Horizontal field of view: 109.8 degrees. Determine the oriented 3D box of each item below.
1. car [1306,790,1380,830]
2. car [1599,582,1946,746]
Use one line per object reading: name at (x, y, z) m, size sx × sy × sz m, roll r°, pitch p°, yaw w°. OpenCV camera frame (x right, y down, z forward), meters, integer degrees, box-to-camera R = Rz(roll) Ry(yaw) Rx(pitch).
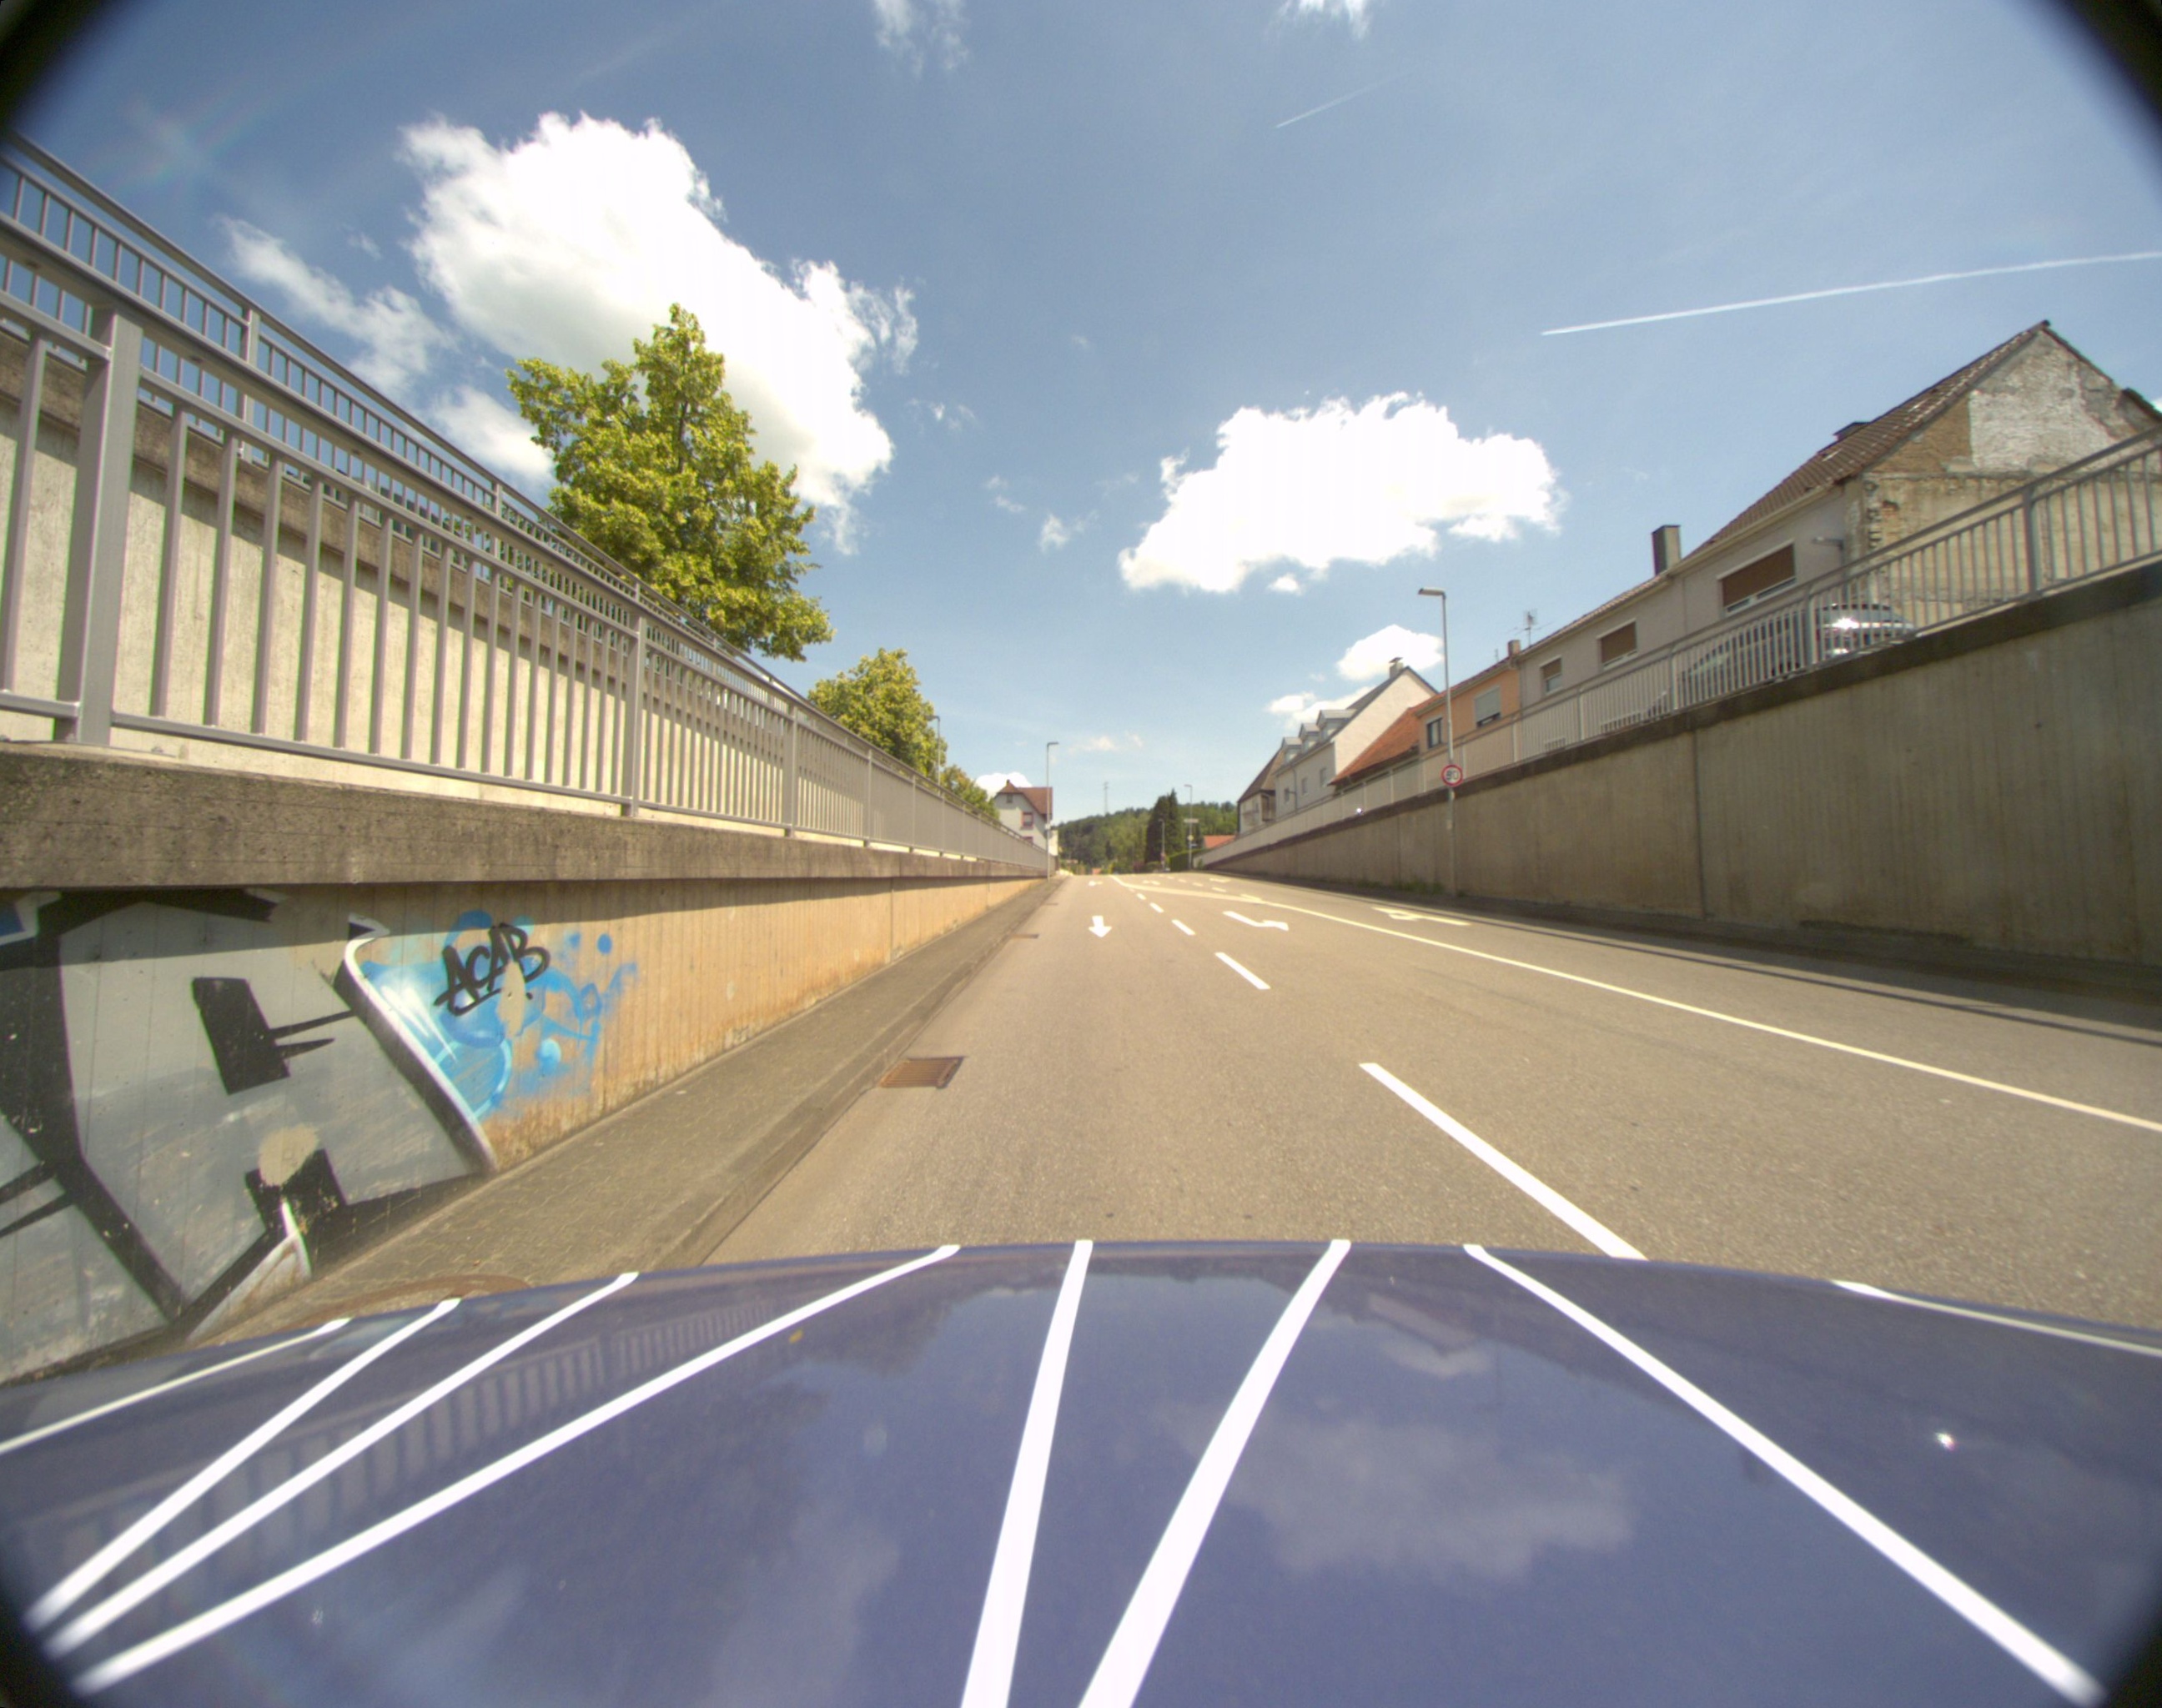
car at (12.068, -1.992, 35.302) m, size 1.790 × 1.396 × 4.394 m, roll -1°, pitch -2°, yaw -1°
car at (11.305, -3.012, 12.970) m, size 1.803 × 1.515 × 4.394 m, roll -1°, pitch -2°, yaw -1°
